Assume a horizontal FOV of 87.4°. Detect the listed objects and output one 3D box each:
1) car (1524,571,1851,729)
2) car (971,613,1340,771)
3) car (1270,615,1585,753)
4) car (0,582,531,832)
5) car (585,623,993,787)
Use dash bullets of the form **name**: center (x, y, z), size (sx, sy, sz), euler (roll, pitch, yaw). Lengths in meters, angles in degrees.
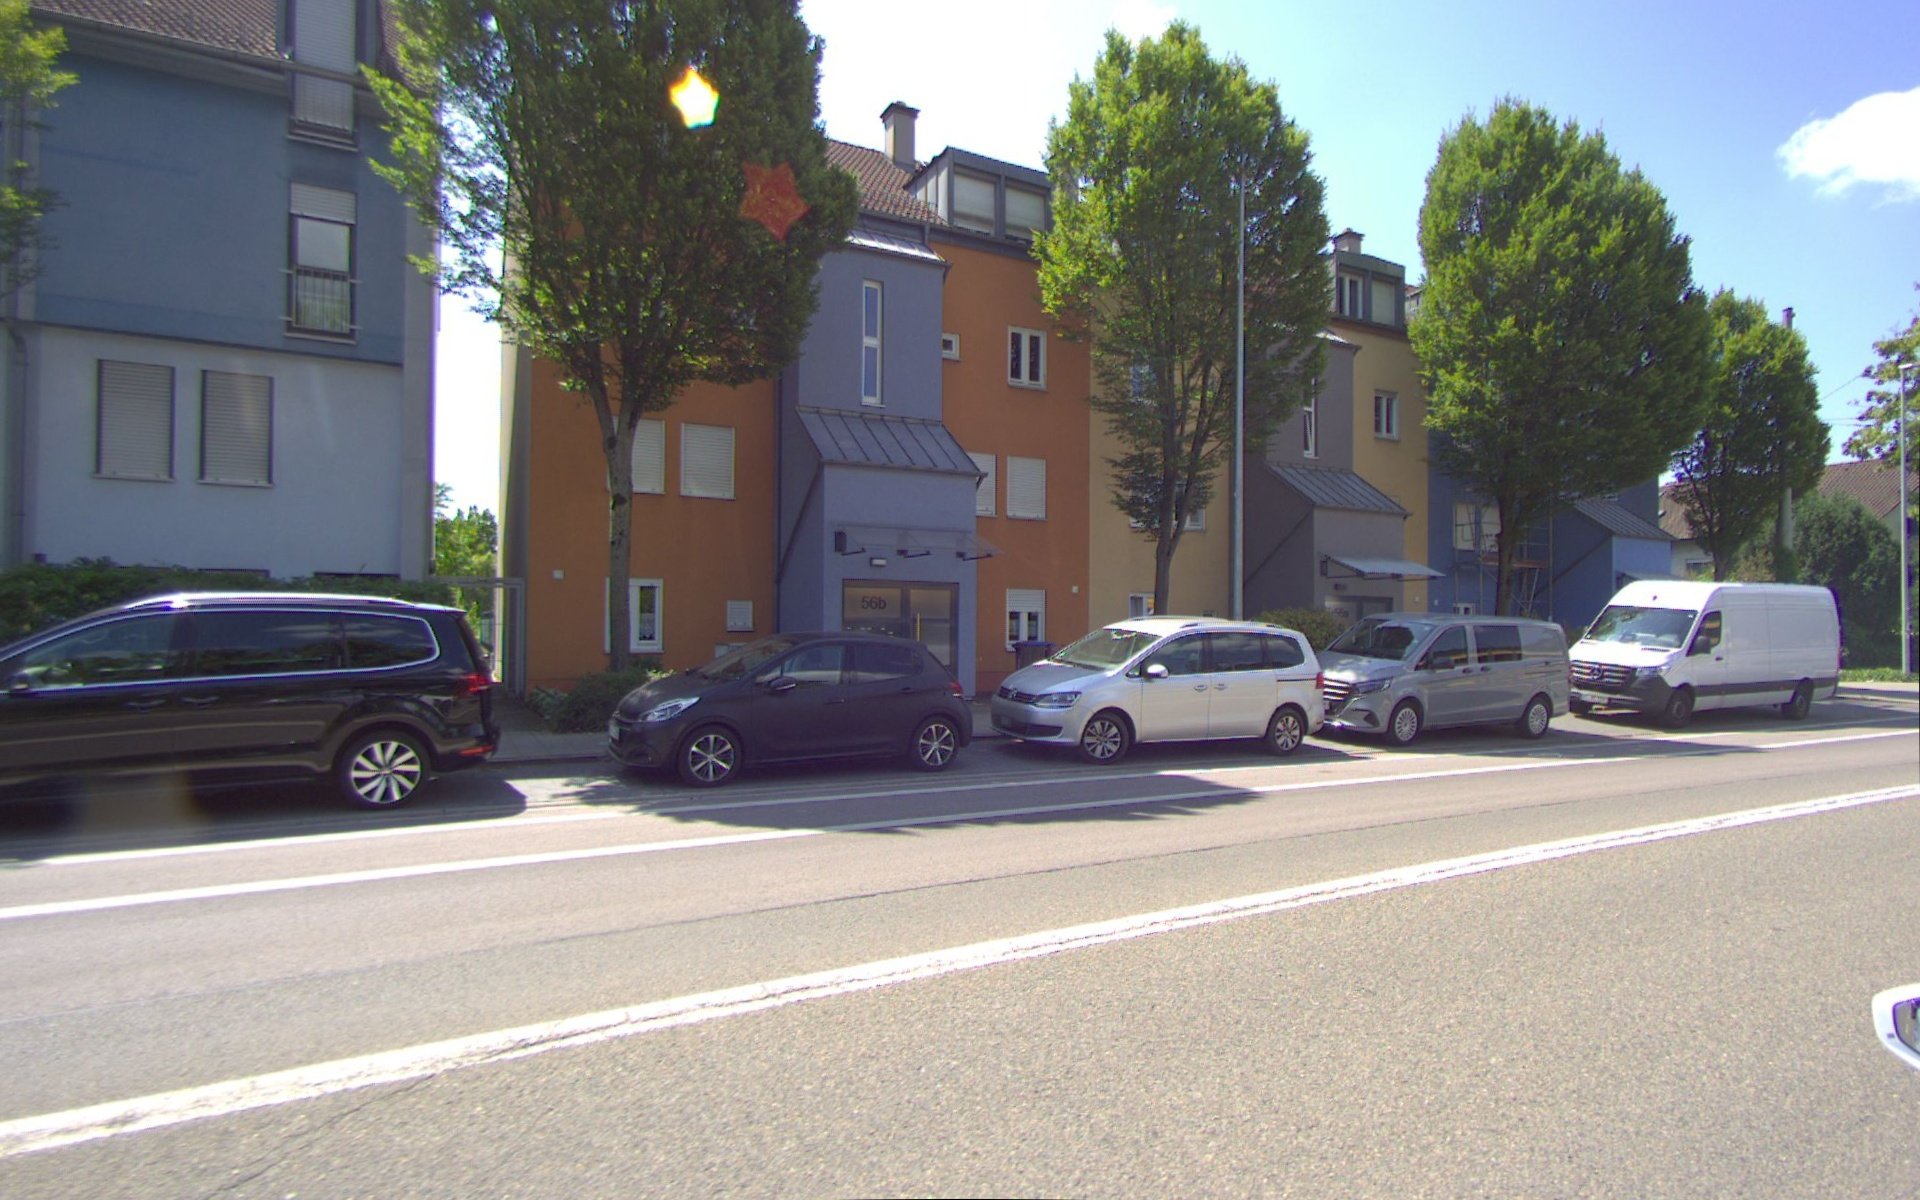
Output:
- **car**: center (14.655, 0.913, 20.113), size (6.944, 2.687, 2.315), euler (1, 3, -27)
- **car**: center (2.663, 1.102, 13.260), size (4.844, 1.775, 1.709), euler (1, -1, -29)
- **car**: center (7.552, 1.237, 16.066), size (5.296, 1.920, 1.799), euler (1, -2, -29)
- **car**: center (-6.256, 0.777, 8.261), size (4.832, 1.739, 1.742), euler (1, -2, -31)
- **car**: center (-1.778, 1.059, 10.898), size (4.041, 1.490, 1.590), euler (3, -2, -31)
